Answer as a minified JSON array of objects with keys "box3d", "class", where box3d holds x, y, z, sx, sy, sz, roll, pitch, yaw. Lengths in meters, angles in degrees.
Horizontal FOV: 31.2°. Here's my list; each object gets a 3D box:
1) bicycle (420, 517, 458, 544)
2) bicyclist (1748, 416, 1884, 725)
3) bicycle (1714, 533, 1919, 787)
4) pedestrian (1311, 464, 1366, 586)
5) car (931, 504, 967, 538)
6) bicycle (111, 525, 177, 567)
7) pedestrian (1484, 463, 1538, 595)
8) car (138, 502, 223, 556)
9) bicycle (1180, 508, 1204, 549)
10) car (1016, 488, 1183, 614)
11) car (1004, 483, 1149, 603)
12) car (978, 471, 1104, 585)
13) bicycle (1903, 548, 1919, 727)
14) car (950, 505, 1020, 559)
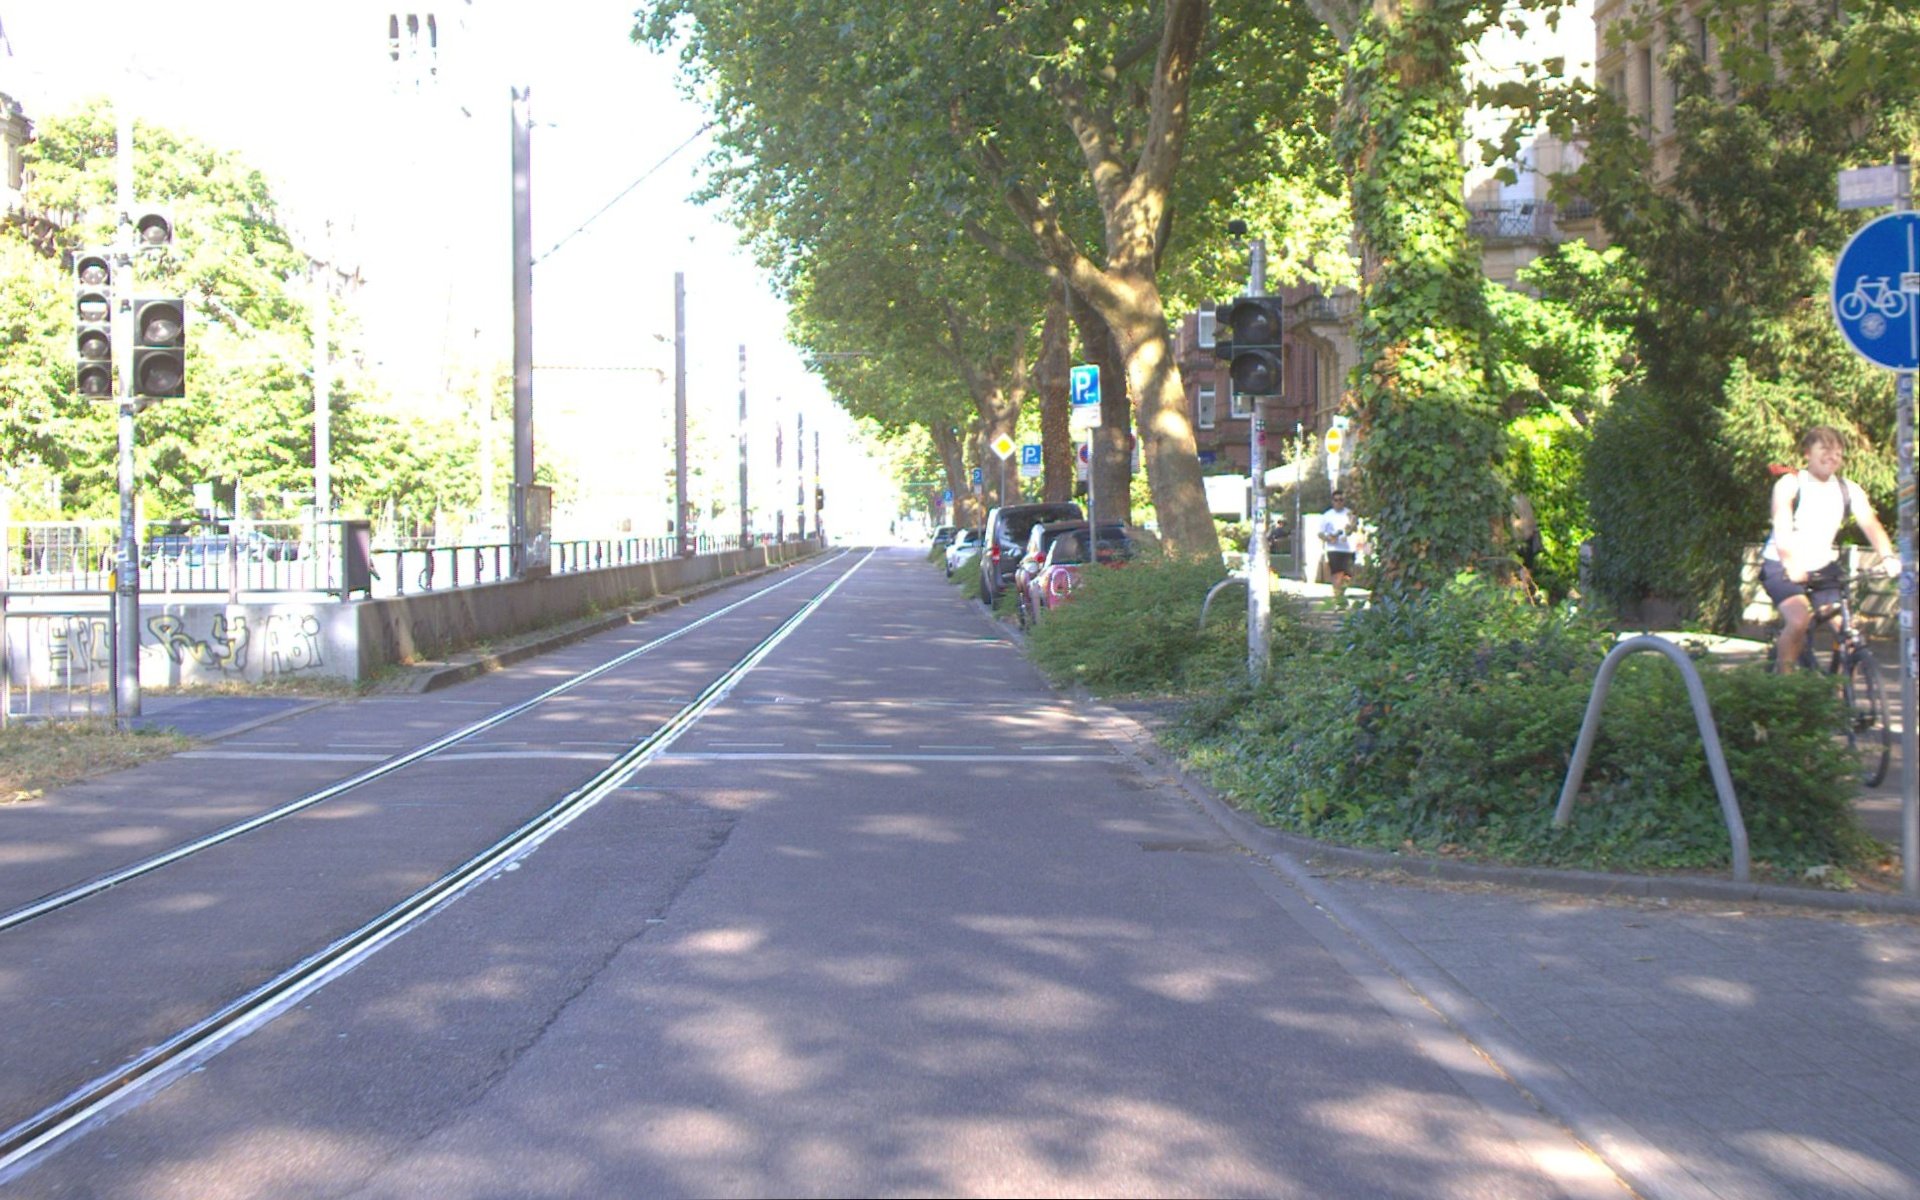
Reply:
[{"box3d":[-25.068,-3.338,165.412,1.731,1.275,0.599,0,1,5],"class":"bicycle"},{"box3d":[4.591,-0.171,18.465,0.543,1.619,0.644,-1,4,-2],"class":"bicyclist"},{"box3d":[4.600,0.280,18.365,0.560,1.174,2.227,-1,4,-2],"class":"bicycle"},{"box3d":[5.620,-1.117,51.037,0.688,1.779,0.644,-1,3,-2],"class":"pedestrian"},{"box3d":[-0.550,-3.812,166.387,1.616,1.581,4.418,-2,1,-2],"class":"car"},{"box3d":[-24.302,-1.614,102.425,1.808,1.174,0.562,2,1,2],"class":"bicycle"},{"box3d":[6.962,-0.904,43.451,0.530,1.622,0.618,-2,3,-1],"class":"pedestrian"},{"box3d":[-23.880,-2.193,105.422,1.832,1.579,4.001,2,2,-3],"class":"car"},{"box3d":[6.634,-2.058,98.323,0.475,1.139,1.896,-3,2,-1],"class":"bicycle"},{"box3d":[1.665,-0.597,42.298,1.714,1.457,4.000,0,1,-2],"class":"car"},{"box3d":[1.583,-0.801,48.138,1.714,1.543,4.501,-2,1,-1],"class":"car"},{"box3d":[1.471,-1.390,64.370,1.993,2.006,5.203,-1,2,-2],"class":"car"},{"box3d":[5.960,0.243,19.251,0.560,1.034,1.934,-3,3,-8],"class":"bicycle"},{"box3d":[0.694,-1.925,96.689,1.802,1.472,4.647,0,1,-1],"class":"car"}]
